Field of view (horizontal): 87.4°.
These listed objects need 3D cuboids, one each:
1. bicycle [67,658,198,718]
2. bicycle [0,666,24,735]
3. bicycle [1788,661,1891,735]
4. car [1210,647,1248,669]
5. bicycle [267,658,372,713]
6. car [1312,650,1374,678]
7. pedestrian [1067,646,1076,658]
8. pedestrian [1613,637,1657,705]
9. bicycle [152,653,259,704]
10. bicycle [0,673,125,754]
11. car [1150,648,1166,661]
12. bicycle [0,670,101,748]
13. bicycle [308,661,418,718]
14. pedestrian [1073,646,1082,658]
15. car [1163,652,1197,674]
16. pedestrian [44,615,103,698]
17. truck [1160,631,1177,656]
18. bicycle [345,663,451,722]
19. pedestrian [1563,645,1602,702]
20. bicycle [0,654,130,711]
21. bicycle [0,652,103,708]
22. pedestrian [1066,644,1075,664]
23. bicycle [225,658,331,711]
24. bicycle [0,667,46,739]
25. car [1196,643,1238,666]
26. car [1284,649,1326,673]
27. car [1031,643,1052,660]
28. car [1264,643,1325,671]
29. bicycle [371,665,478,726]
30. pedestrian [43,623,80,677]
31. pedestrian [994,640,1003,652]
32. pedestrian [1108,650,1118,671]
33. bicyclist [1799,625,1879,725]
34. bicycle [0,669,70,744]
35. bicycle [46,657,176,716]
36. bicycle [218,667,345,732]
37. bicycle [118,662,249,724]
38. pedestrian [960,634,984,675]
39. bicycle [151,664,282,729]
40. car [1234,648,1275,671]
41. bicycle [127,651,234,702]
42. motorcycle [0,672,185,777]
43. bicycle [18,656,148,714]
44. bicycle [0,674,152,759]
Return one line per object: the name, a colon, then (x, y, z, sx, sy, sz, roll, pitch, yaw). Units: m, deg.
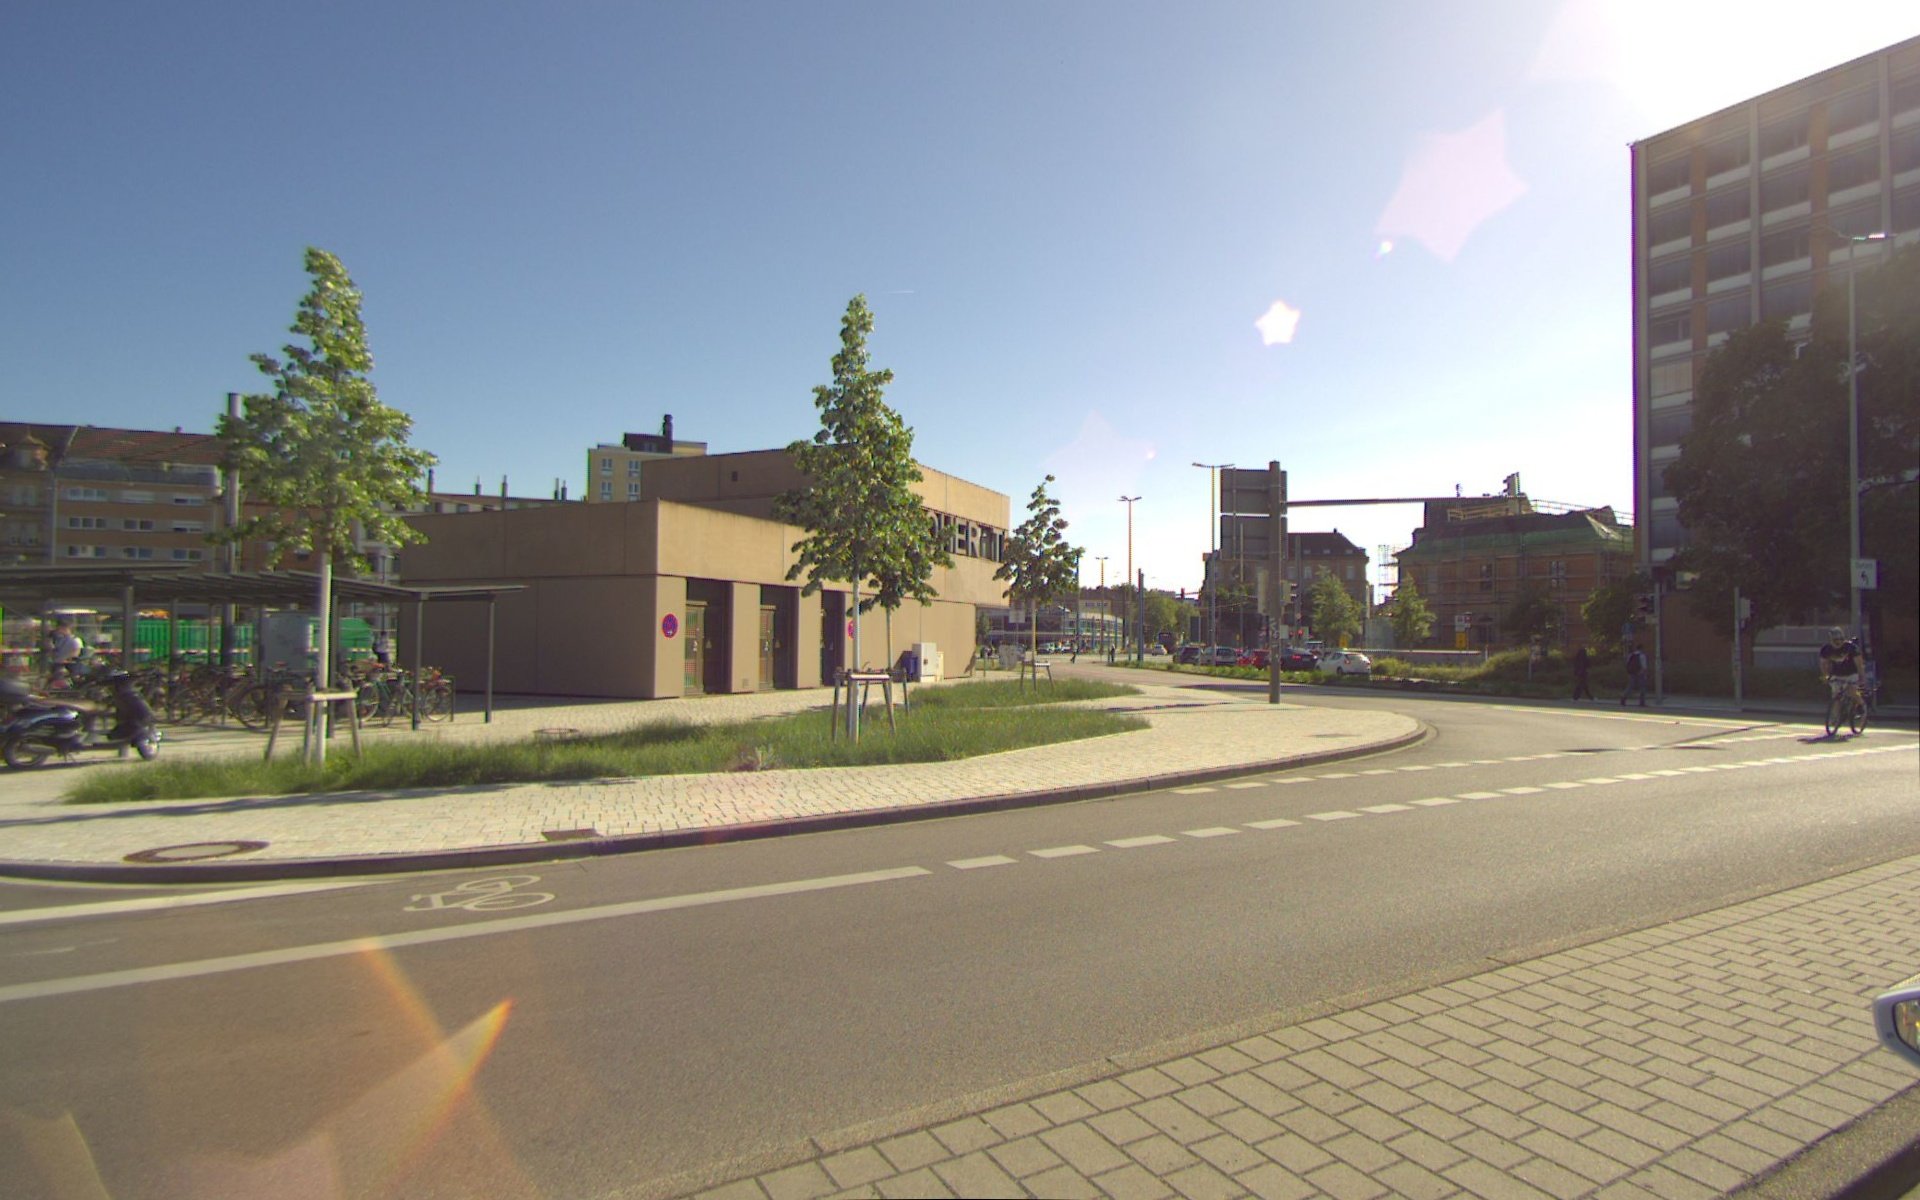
bicycle: (-15.242, 1.594, 18.555, 0.557, 1.051, 1.788, -1, -3, 22)
bicycle: (-15.208, 1.517, 14.931, 0.557, 1.051, 1.788, -1, -3, 22)
bicycle: (14.984, 1.640, 17.099, 1.848, 1.180, 0.742, 2, -3, -30)
car: (20.249, 4.357, 75.662, 1.697, 1.461, 3.799, 3, -2, -2)
bicycle: (-12.926, 1.712, 20.335, 0.557, 1.051, 1.788, -1, -3, 22)
car: (21.281, 3.566, 55.965, 1.665, 1.454, 3.733, 1, -2, -7)
pedestrian: (14.378, 6.690, 129.228, 0.855, 1.427, 0.688, 2, 0, -32)
pedestrian: (19.104, 2.003, 28.418, 1.086, 1.856, 0.748, 4, -3, -38)
bicycle: (-16.191, 1.668, 21.603, 0.557, 1.051, 1.788, -1, -3, 22)
bicycle: (-12.784, 1.549, 13.925, 0.557, 1.051, 1.788, -1, -3, 22)
car: (26.603, 7.280, 135.012, 1.751, 1.565, 3.642, 2, 0, 15)
bicycle: (-13.332, 1.527, 14.149, 0.557, 1.051, 1.788, -1, -3, 22)
bicycle: (-11.648, 1.725, 19.656, 0.558, 1.051, 1.785, -2, -4, 30)
pedestrian: (15.207, 6.717, 129.733, 0.855, 1.427, 0.688, 2, 0, -32)
car: (16.410, 4.679, 75.104, 1.696, 1.461, 3.912, 3, -2, 2)
pedestrian: (-18.897, 1.197, 21.417, 0.606, 1.746, 0.682, 1, -2, 0)
truck: (33.505, 6.908, 161.424, 2.549, 3.723, 5.229, 2, 0, 10)
bicycle: (-10.638, 1.722, 19.072, 0.557, 1.051, 1.788, -1, -3, 22)
pedestrian: (18.227, 2.134, 29.423, 0.670, 1.633, 0.718, 2, -2, -13)
bicycle: (-17.185, 1.563, 19.331, 0.557, 1.051, 1.788, -1, -3, 22)
bicycle: (-17.866, 1.540, 19.501, 0.557, 1.051, 1.788, -1, -3, 22)
pedestrian: (9.231, 4.487, 83.857, 0.643, 1.632, 0.676, 2, 0, -4)
bicycle: (-14.096, 1.727, 20.805, 0.557, 1.051, 1.788, -1, -3, 22)
bicycle: (-14.592, 1.516, 14.647, 0.557, 1.051, 1.788, -1, -3, 22)
car: (17.409, 3.664, 68.289, 1.697, 1.461, 3.798, 1, -2, -3)
car: (25.876, 4.571, 75.458, 1.846, 1.638, 3.626, 2, -3, 0)
car: (11.093, 6.968, 136.553, 1.960, 2.040, 4.001, 2, 0, 16)
car: (20.939, 3.569, 63.044, 1.953, 1.645, 4.374, 1, -2, -7)
bicycle: (-9.849, 1.735, 18.545, 0.557, 1.051, 1.788, -1, -3, 22)
pedestrian: (-26.155, 1.442, 29.238, 0.550, 1.538, 0.588, 0, -2, 25)
pedestrian: (4.868, 5.814, 126.101, 0.855, 1.427, 0.688, 2, 0, -32)
pedestrian: (12.493, 4.944, 81.897, 0.566, 1.632, 0.565, 2, 0, -30)
bicyclist: (14.963, 1.270, 17.098, 0.966, 1.642, 0.716, 2, -3, -30)
bicycle: (-14.016, 1.532, 14.405, 0.557, 1.051, 1.788, -1, -3, 22)
bicycle: (-15.884, 1.592, 18.851, 0.557, 1.051, 1.788, -1, -3, 22)
bicycle: (-11.677, 1.686, 17.361, 0.557, 1.051, 1.788, -1, -3, 22)
bicycle: (-13.841, 1.634, 17.959, 0.557, 1.051, 1.788, -1, -3, 22)
pedestrian: (0.519, 2.332, 42.822, 0.778, 1.745, 0.594, -2, -5, 38)
bicycle: (-12.946, 1.659, 17.557, 0.557, 1.051, 1.788, -1, -3, 22)
car: (20.250, 4.064, 69.188, 1.644, 1.461, 3.722, 3, -2, -2)
bicycle: (-16.868, 1.648, 21.787, 0.557, 1.051, 1.788, -1, -3, 22)
motorcycle: (-10.927, 1.500, 12.481, 0.584, 1.134, 1.983, 0, -2, 26)
bicycle: (-16.624, 1.585, 19.093, 0.557, 1.051, 1.788, -1, -3, 22)
bicycle: (-12.185, 1.544, 13.664, 0.557, 1.051, 1.788, -1, -3, 22)
